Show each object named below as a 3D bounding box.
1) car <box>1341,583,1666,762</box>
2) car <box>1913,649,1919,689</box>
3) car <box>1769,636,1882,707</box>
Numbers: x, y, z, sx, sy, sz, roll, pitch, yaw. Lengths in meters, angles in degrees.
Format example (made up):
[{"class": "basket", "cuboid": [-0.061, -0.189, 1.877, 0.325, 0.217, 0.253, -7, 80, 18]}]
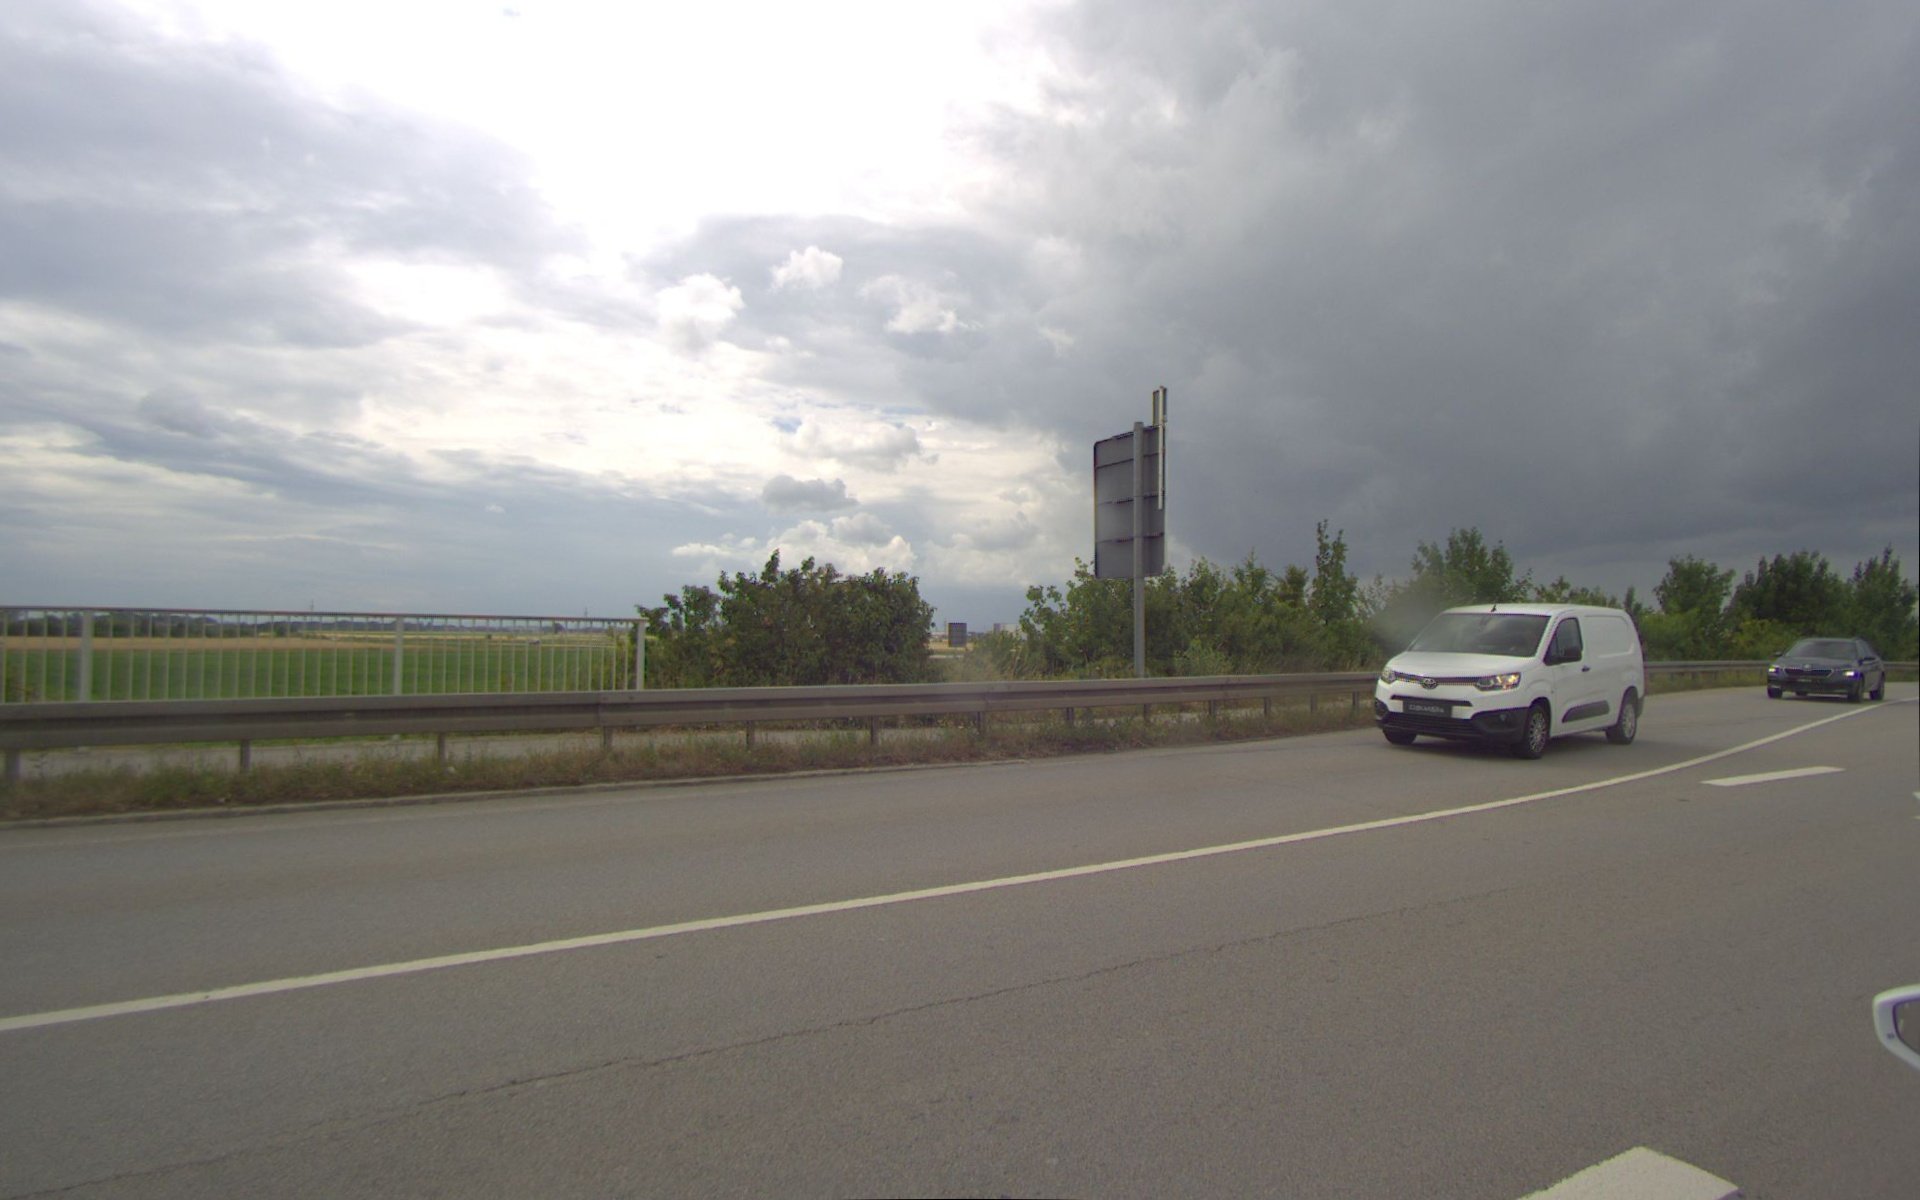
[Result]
[{"class": "car", "cuboid": [7.118, 0.847, 12.945, 4.778, 1.899, 1.938, 2, -1, -38]}, {"class": "car", "cuboid": [36.267, 2.481, 36.127, 4.733, 1.386, 1.798, 2, -2, -33]}, {"class": "car", "cuboid": [21.660, 1.731, 25.087, 4.114, 1.578, 1.569, 3, -1, -41]}]
